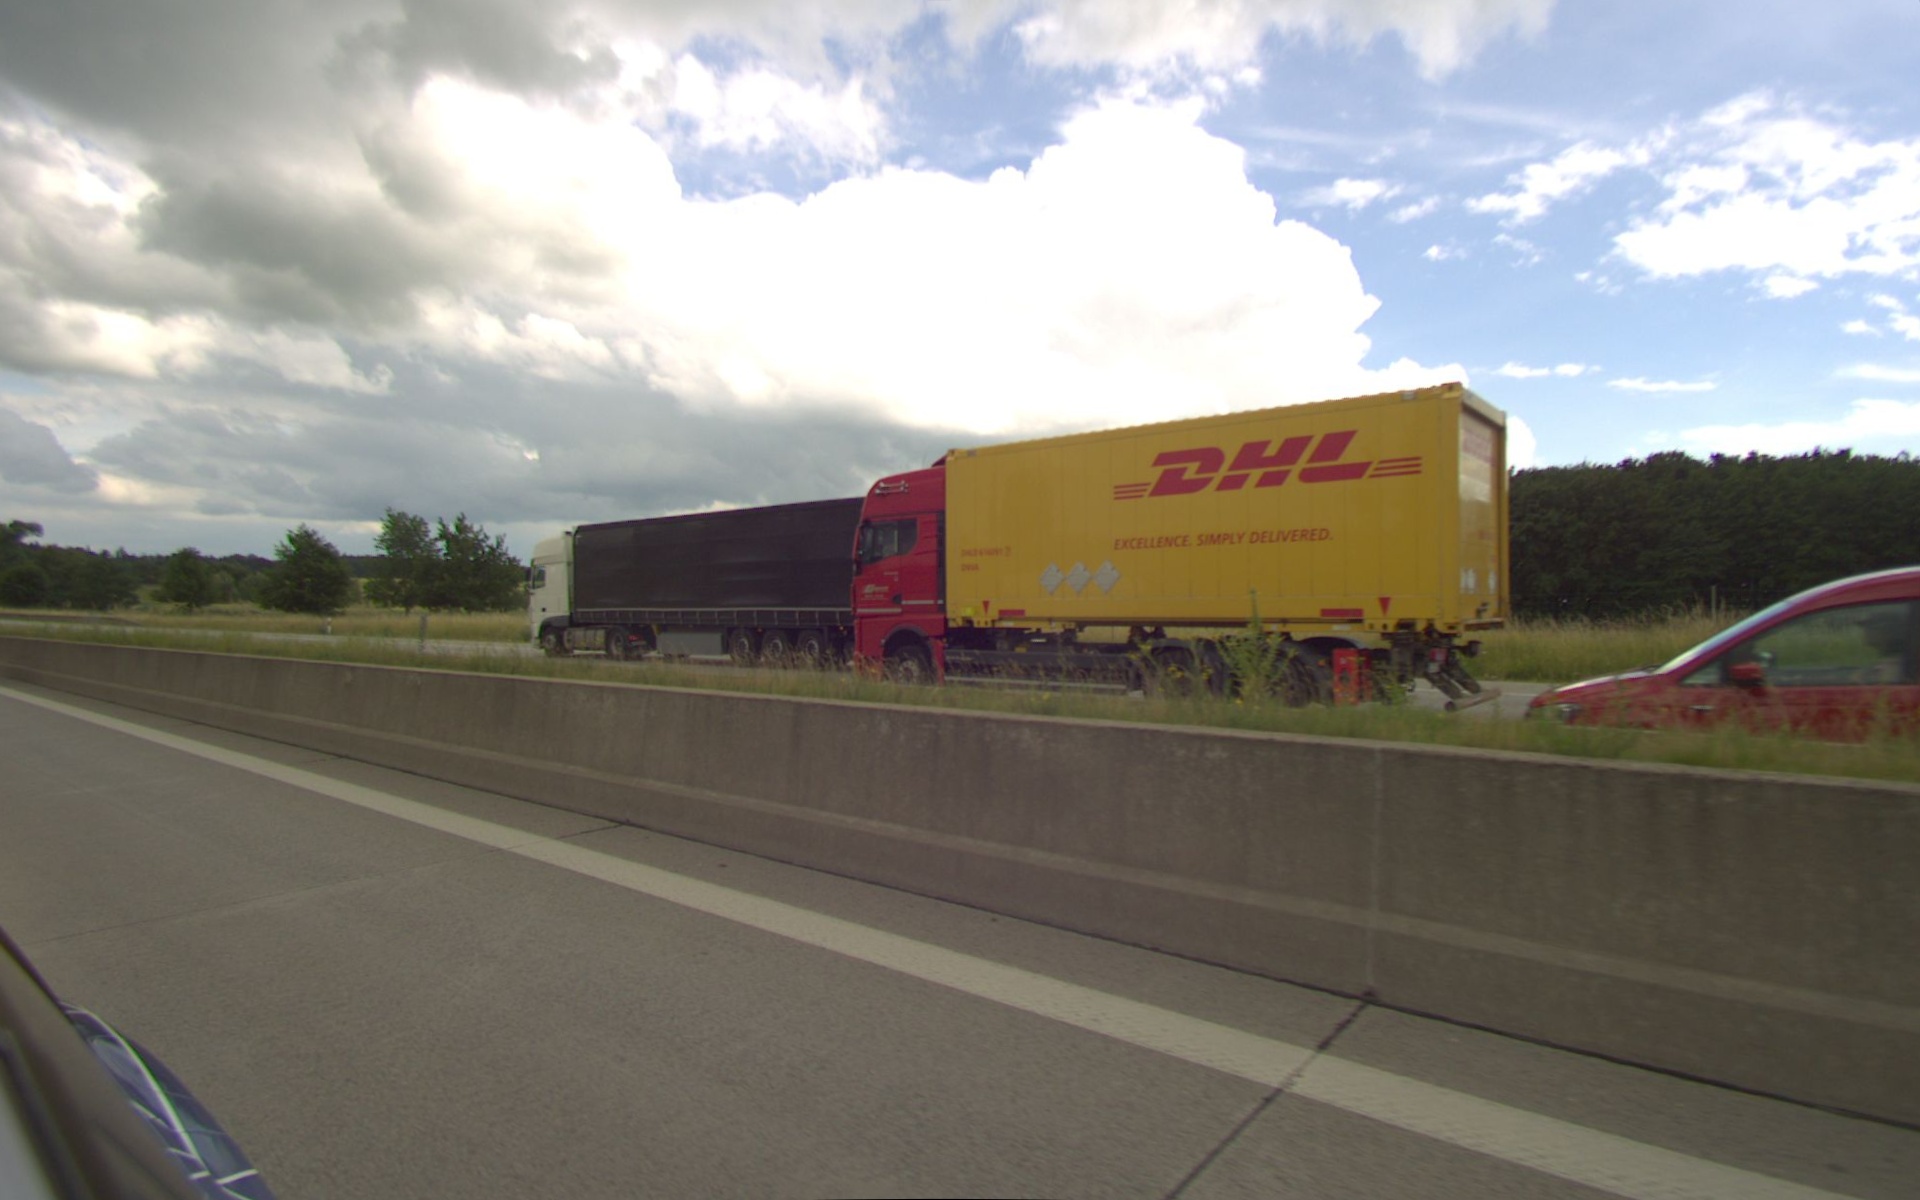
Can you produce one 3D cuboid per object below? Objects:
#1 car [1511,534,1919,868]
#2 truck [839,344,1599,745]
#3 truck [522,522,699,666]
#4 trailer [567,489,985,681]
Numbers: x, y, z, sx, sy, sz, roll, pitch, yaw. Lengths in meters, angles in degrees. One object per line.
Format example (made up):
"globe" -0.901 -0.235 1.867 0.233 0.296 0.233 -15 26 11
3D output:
"car" 6.633 0.591 6.383 5.334 1.977 1.795 0 0 39
"truck" 2.880 -0.468 14.735 10.559 4.069 2.788 -1 -1 40
"truck" -10.926 -0.106 31.486 5.506 4.069 2.811 -1 -1 40
"trailer" -5.627 -0.194 27.036 13.896 4.069 2.811 -1 -1 40
